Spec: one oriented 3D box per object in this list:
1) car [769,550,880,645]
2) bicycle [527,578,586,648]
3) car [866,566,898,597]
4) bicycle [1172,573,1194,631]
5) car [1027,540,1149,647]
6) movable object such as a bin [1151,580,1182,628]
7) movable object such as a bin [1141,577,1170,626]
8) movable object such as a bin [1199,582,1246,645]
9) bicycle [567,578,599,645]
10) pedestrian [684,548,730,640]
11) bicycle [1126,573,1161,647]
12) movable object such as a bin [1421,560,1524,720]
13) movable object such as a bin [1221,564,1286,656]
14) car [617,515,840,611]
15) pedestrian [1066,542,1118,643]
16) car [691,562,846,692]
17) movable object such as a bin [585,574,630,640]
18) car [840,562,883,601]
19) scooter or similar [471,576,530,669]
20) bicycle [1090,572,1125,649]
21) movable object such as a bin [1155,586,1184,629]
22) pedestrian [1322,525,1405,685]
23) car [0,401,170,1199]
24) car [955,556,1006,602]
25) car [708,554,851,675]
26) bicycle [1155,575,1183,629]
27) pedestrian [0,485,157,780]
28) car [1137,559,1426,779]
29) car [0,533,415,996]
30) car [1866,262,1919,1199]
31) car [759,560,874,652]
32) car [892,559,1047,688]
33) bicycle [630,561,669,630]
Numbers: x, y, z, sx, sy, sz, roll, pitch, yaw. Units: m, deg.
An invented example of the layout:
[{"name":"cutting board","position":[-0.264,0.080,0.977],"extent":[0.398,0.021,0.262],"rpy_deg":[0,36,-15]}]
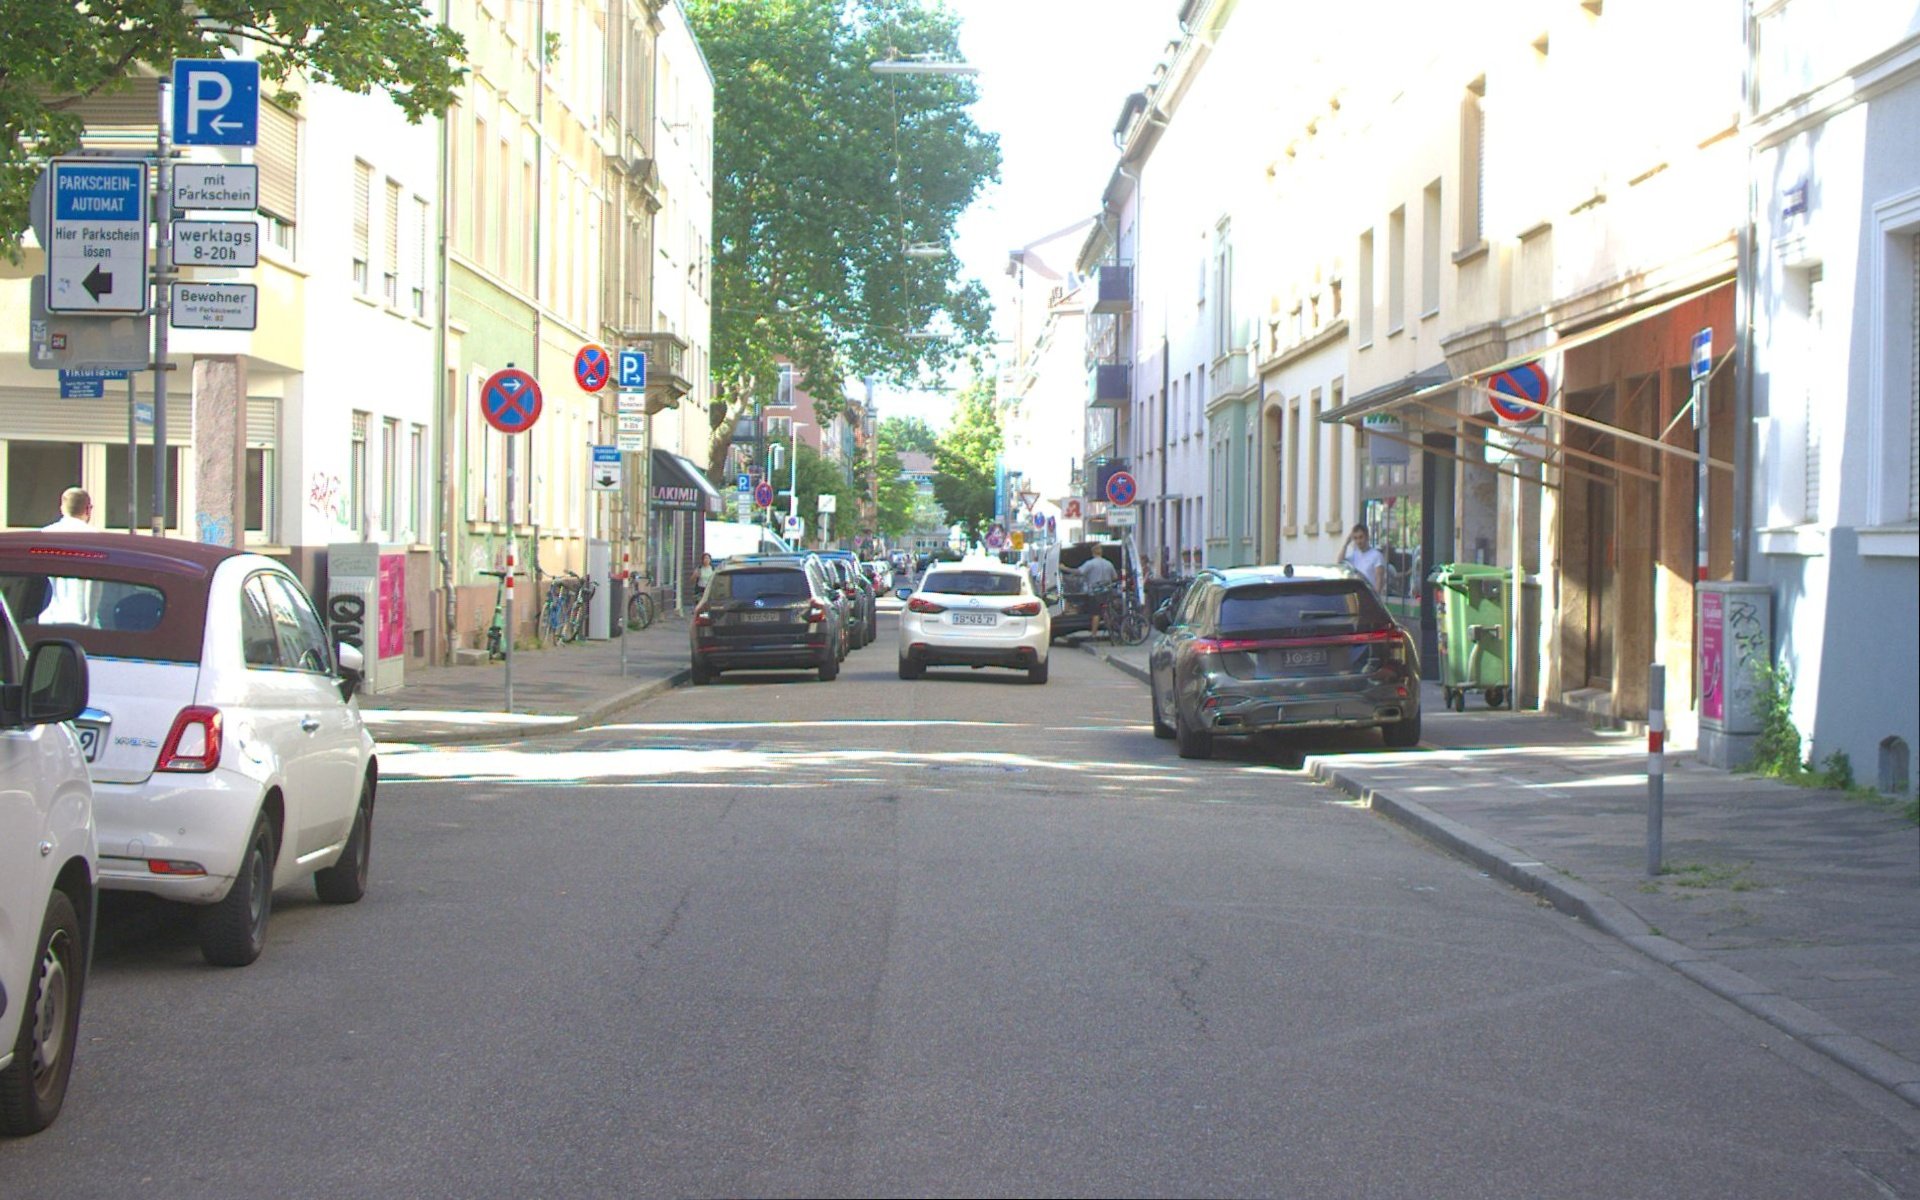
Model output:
[{"name":"car","position":[-2.517,-0.069,64.893],"extent":[1.936,1.730,5.142],"rpy_deg":[0,0,0]},{"name":"bicycle","position":[-6.054,0.197,51.618],"extent":[0.361,1.025,1.916],"rpy_deg":[1,0,9]},{"name":"car","position":[-4.026,-0.944,177.948],"extent":[1.572,1.580,3.611],"rpy_deg":[1,0,0]},{"name":"bicycle","position":[4.667,0.042,71.930],"extent":[0.405,1.202,2.159],"rpy_deg":[1,0,3]},{"name":"car","position":[2.413,-0.152,66.217],"extent":[1.983,1.877,5.600],"rpy_deg":[-3,1,-1]},{"name":"movable object such as a bin","position":[4.579,0.083,76.233],"extent":[0.616,1.059,0.603],"rpy_deg":[-1,1,-1]},{"name":"movable object such as a bin","position":[4.495,0.032,79.020],"extent":[0.628,1.118,0.569],"rpy_deg":[1,0,1]},{"name":"movable object such as a bin","position":[4.610,0.232,60.430],"extent":[0.797,1.092,0.642],"rpy_deg":[1,0,2]},{"name":"bicycle","position":[-6.019,0.186,54.968],"extent":[0.402,1.052,1.837],"rpy_deg":[1,0,-3]},{"name":"pedestrian","position":[-4.802,-0.112,65.404],"extent":[0.764,1.708,0.883],"rpy_deg":[2,1,-1]},{"name":"bicycle","position":[3.239,0.167,60.578],"extent":[0.575,1.267,2.199],"rpy_deg":[-1,0,4]},{"name":"movable object such as a bin","position":[4.766,0.357,32.023],"extent":[0.746,1.431,1.372],"rpy_deg":[-2,0,2]},{"name":"movable object such as a bin","position":[4.593,0.169,53.835],"extent":[0.837,1.385,1.297],"rpy_deg":[-2,-1,-1]},{"name":"car","position":[-7.303,-1.160,108.968],"extent":[6.739,2.546,2.145],"rpy_deg":[4,0,2]},{"name":"pedestrian","position":[2.419,-0.141,63.029],"extent":[0.880,1.830,0.869],"rpy_deg":[1,0,-2]},{"name":"car","position":[-2.335,0.300,42.954],"extent":[1.713,1.483,4.852],"rpy_deg":[-2,0,-1]},{"name":"movable object such as a bin","position":[-5.974,0.114,58.297],"extent":[0.735,1.085,0.683],"rpy_deg":[1,2,-4]},{"name":"car","position":[-4.178,-0.803,145.728],"extent":[1.769,1.583,3.726],"rpy_deg":[1,1,-1]},{"name":"scooter or similar","position":[-5.953,0.283,44.624],"extent":[0.454,1.177,1.691],"rpy_deg":[1,0,3]},{"name":"bicycle","position":[2.587,0.169,60.257],"extent":[0.575,1.316,2.199],"rpy_deg":[0,1,3]},{"name":"movable object such as a bin","position":[4.608,0.157,75.624],"extent":[0.577,0.921,0.607],"rpy_deg":[-2,0,0]},{"name":"pedestrian","position":[4.770,0.049,40.678],"extent":[0.648,1.853,0.749],"rpy_deg":[-2,1,-22]},{"name":"car","position":[-3.074,0.511,7.323],"extent":[1.766,1.892,4.809],"rpy_deg":[-1,1,-2]},{"name":"car","position":[0.872,-0.916,148.939],"extent":[1.942,1.941,4.079],"rpy_deg":[2,0,-3]},{"name":"car","position":[-2.515,0.161,48.813],"extent":[1.744,1.609,4.603],"rpy_deg":[0,1,0]},{"name":"bicycle","position":[4.517,0.054,74.355],"extent":[0.569,1.149,1.868],"rpy_deg":[1,0,4]},{"name":"pedestrian","position":[-5.736,0.202,21.952],"extent":[0.910,1.826,1.245],"rpy_deg":[1,0,0]},{"name":"car","position":[2.499,0.487,27.816],"extent":[1.801,1.573,4.897],"rpy_deg":[2,0,0]},{"name":"car","position":[-3.286,0.532,13.470],"extent":[1.667,1.555,3.722],"rpy_deg":[1,1,1]},{"name":"car","position":[2.451,0.563,2.859],"extent":[1.970,2.022,4.899],"rpy_deg":[2,1,-1]},{"name":"car","position":[-2.438,0.078,59.375],"extent":[1.713,1.526,4.367],"rpy_deg":[0,0,1]},{"name":"car","position":[0.074,0.264,42.558],"extent":[1.823,1.509,3.824],"rpy_deg":[1,0,-1]},{"name":"bicycle","position":[-5.856,-0.084,64.914],"extent":[0.510,1.272,1.867],"rpy_deg":[1,0,1]}]
